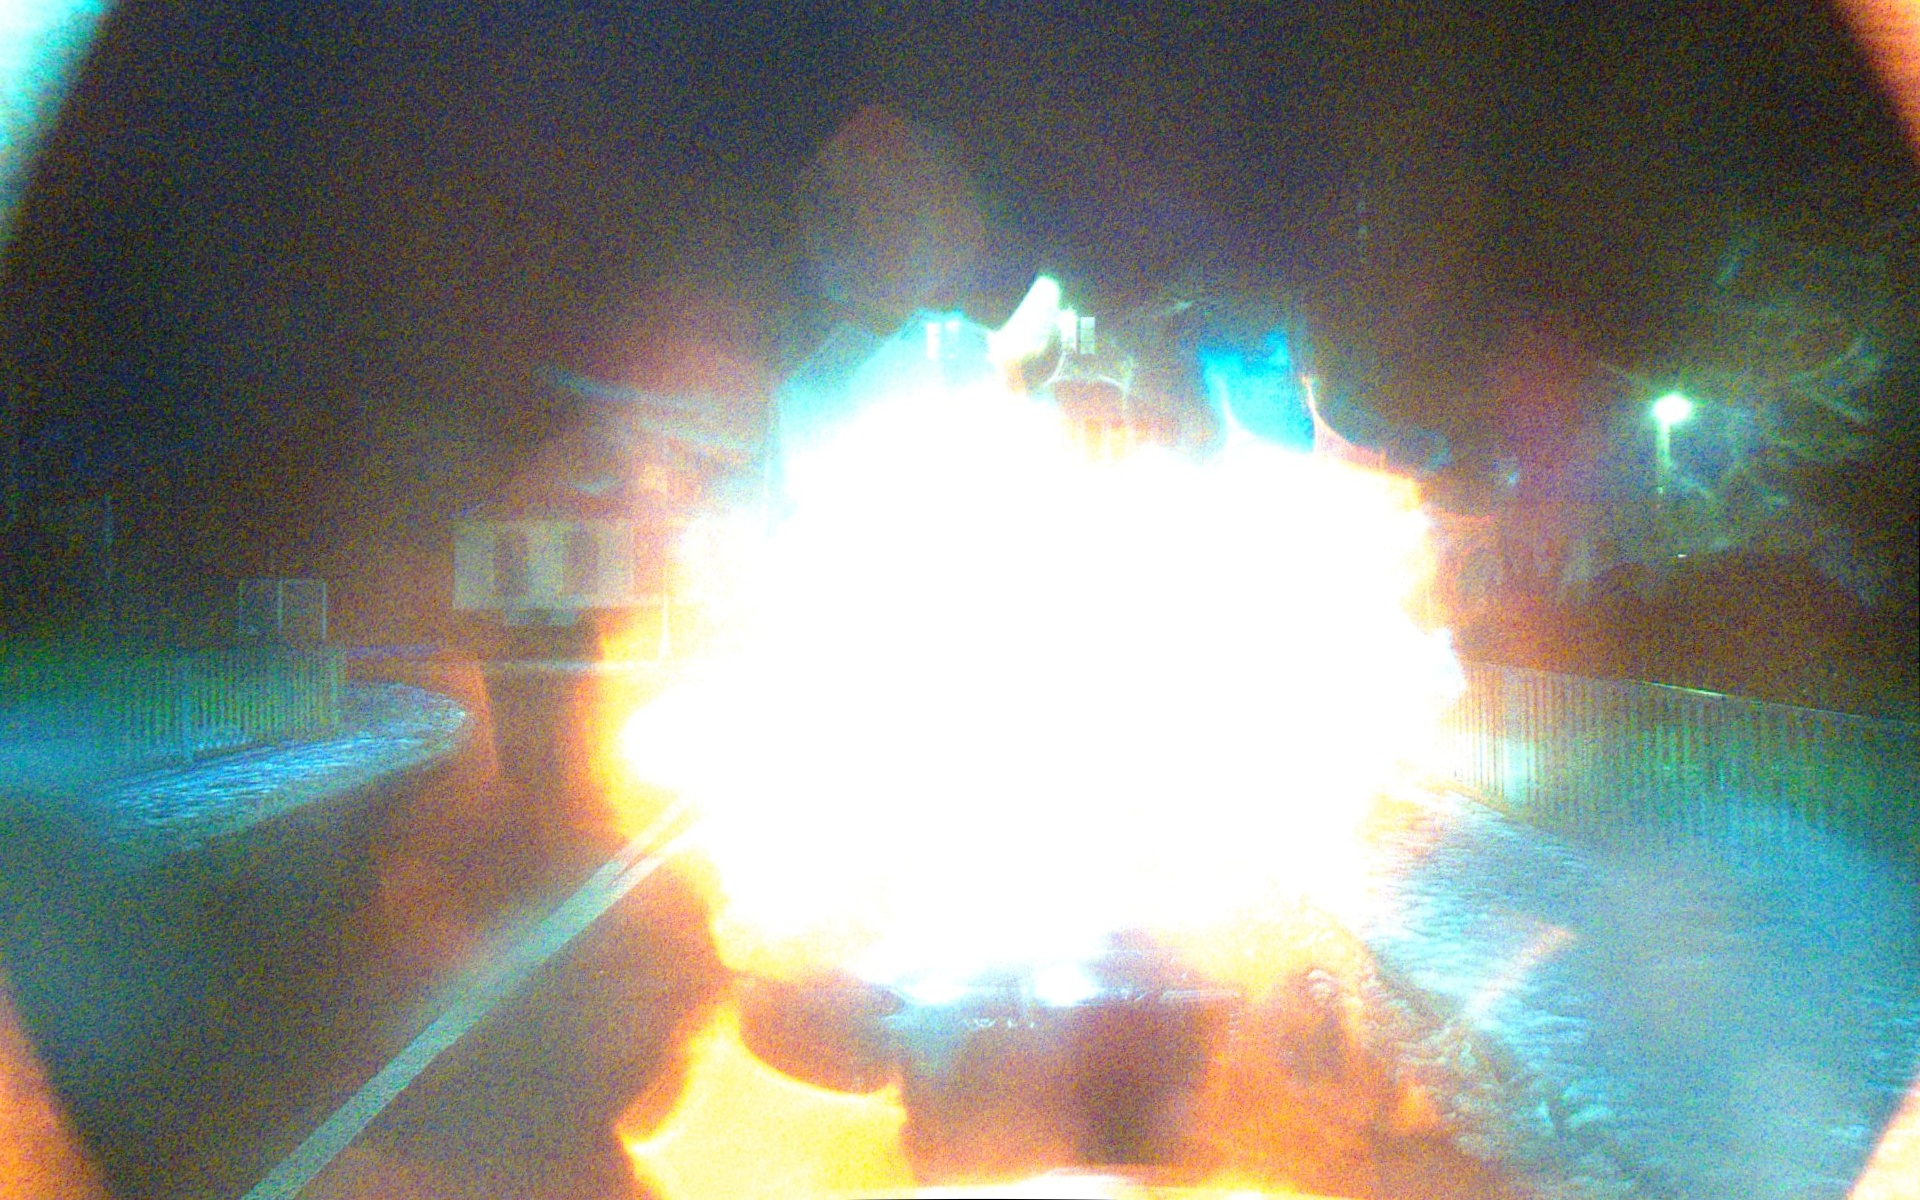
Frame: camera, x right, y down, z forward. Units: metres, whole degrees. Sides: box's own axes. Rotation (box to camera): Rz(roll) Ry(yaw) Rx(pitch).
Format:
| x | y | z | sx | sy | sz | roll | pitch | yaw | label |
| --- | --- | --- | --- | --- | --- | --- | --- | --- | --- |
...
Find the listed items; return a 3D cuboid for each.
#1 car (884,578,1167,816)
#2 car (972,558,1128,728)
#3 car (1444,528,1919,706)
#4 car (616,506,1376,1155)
| x | y | z | sx | sy | sz | roll | pitch | yaw | label |
| --- | --- | --- | --- | --- | --- | --- | --- | --- | --- |
| 0.444 | 0.639 | 13.443 | 1.871 | 1.536 | 4.241 | -3 | 1 | 0 | car |
| 1.320 | 0.475 | 22.473 | 1.734 | 1.980 | 4.258 | 4 | 2 | 7 | car |
| 7.679 | 0.172 | 18.040 | 4.372 | 1.613 | 1.941 | -3 | 1 | 10 | car |
| 0.074 | 0.624 | 6.533 | 2.016 | 1.707 | 4.138 | 1 | 0 | -1 | car |
